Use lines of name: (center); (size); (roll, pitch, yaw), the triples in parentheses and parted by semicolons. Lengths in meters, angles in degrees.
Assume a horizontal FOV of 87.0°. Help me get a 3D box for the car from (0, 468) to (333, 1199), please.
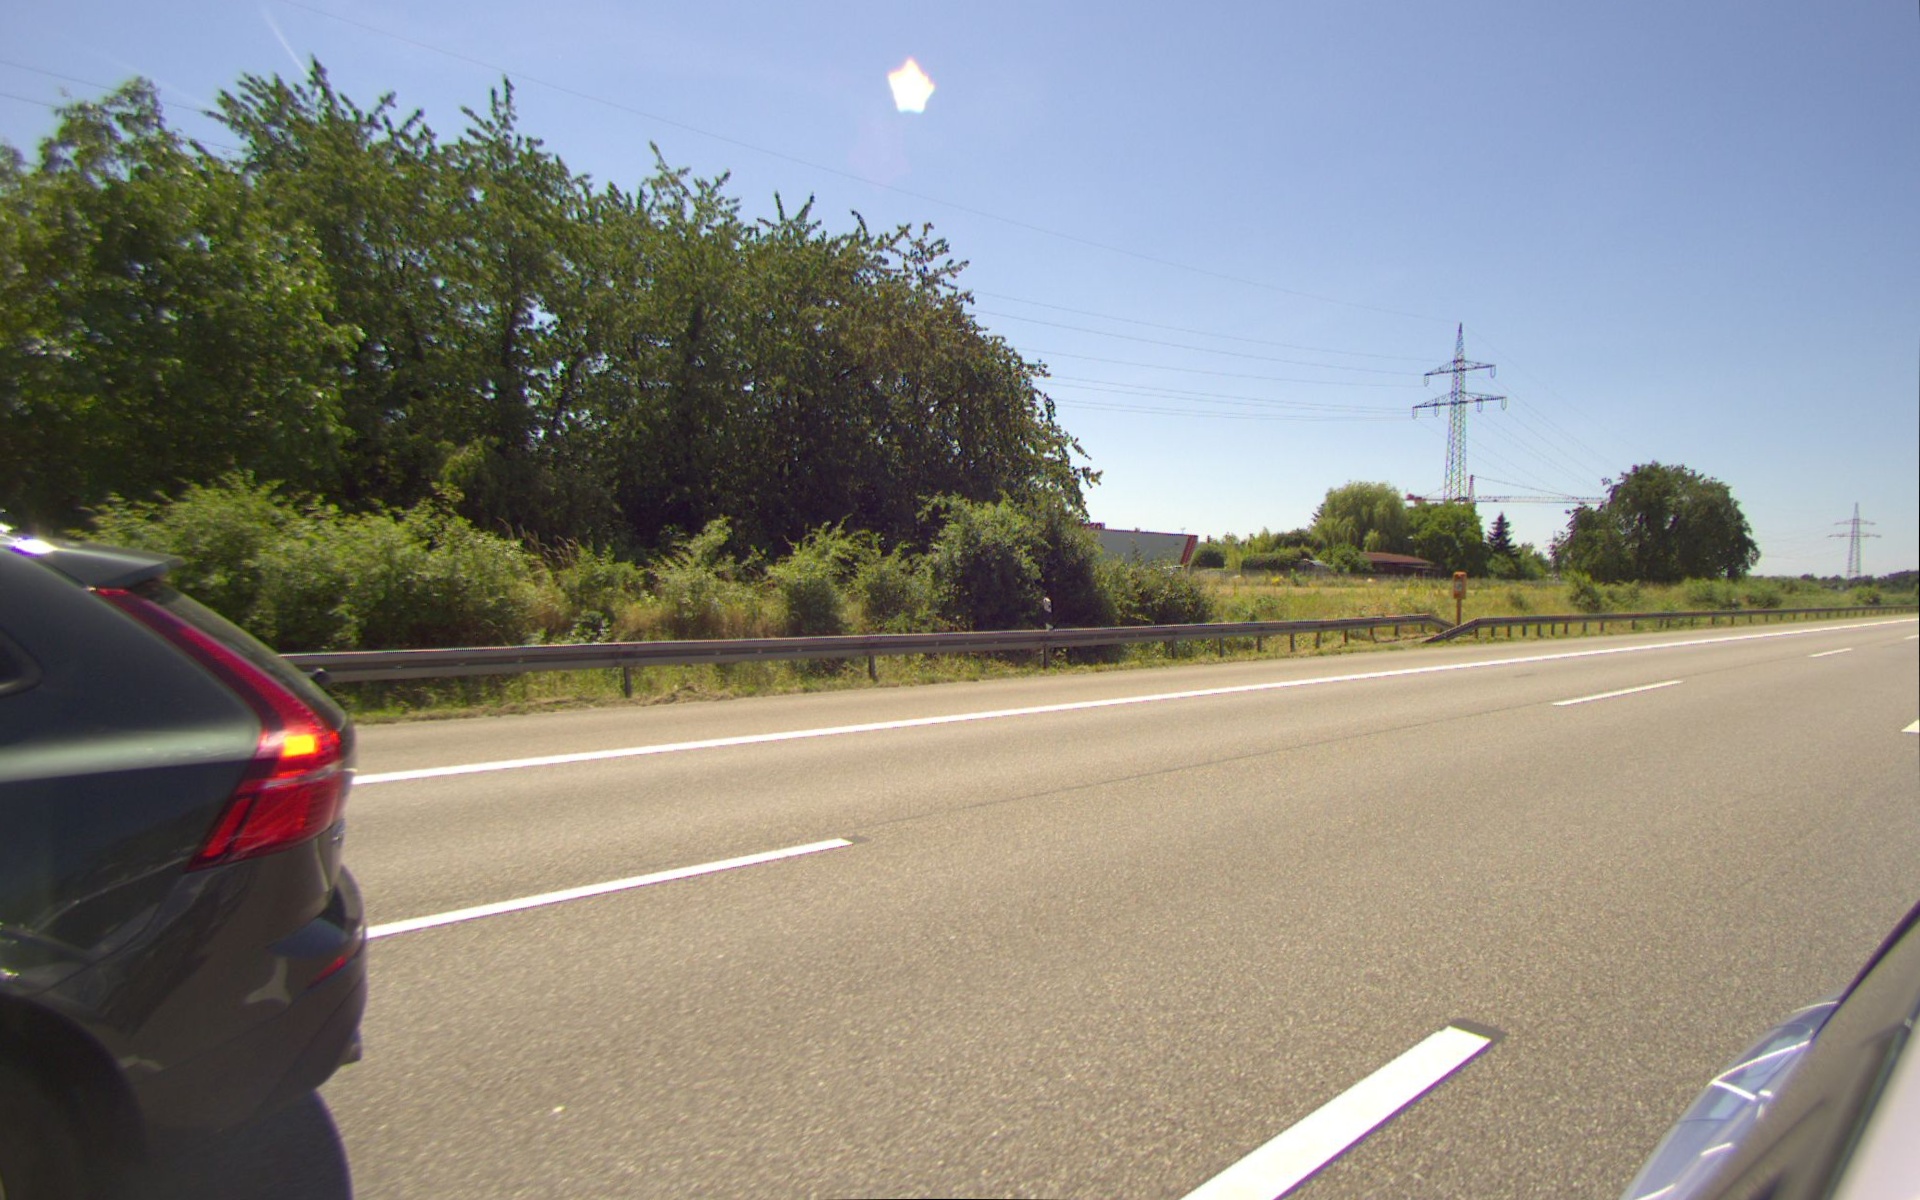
car: (-3.399, 0.583, 1.529); (3.934, 1.643, 1.877); (0, 1, -41)

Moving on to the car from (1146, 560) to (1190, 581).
car: (21.412, -3.007, 104.208); (1.967, 2.039, 3.989); (0, 0, -44)
